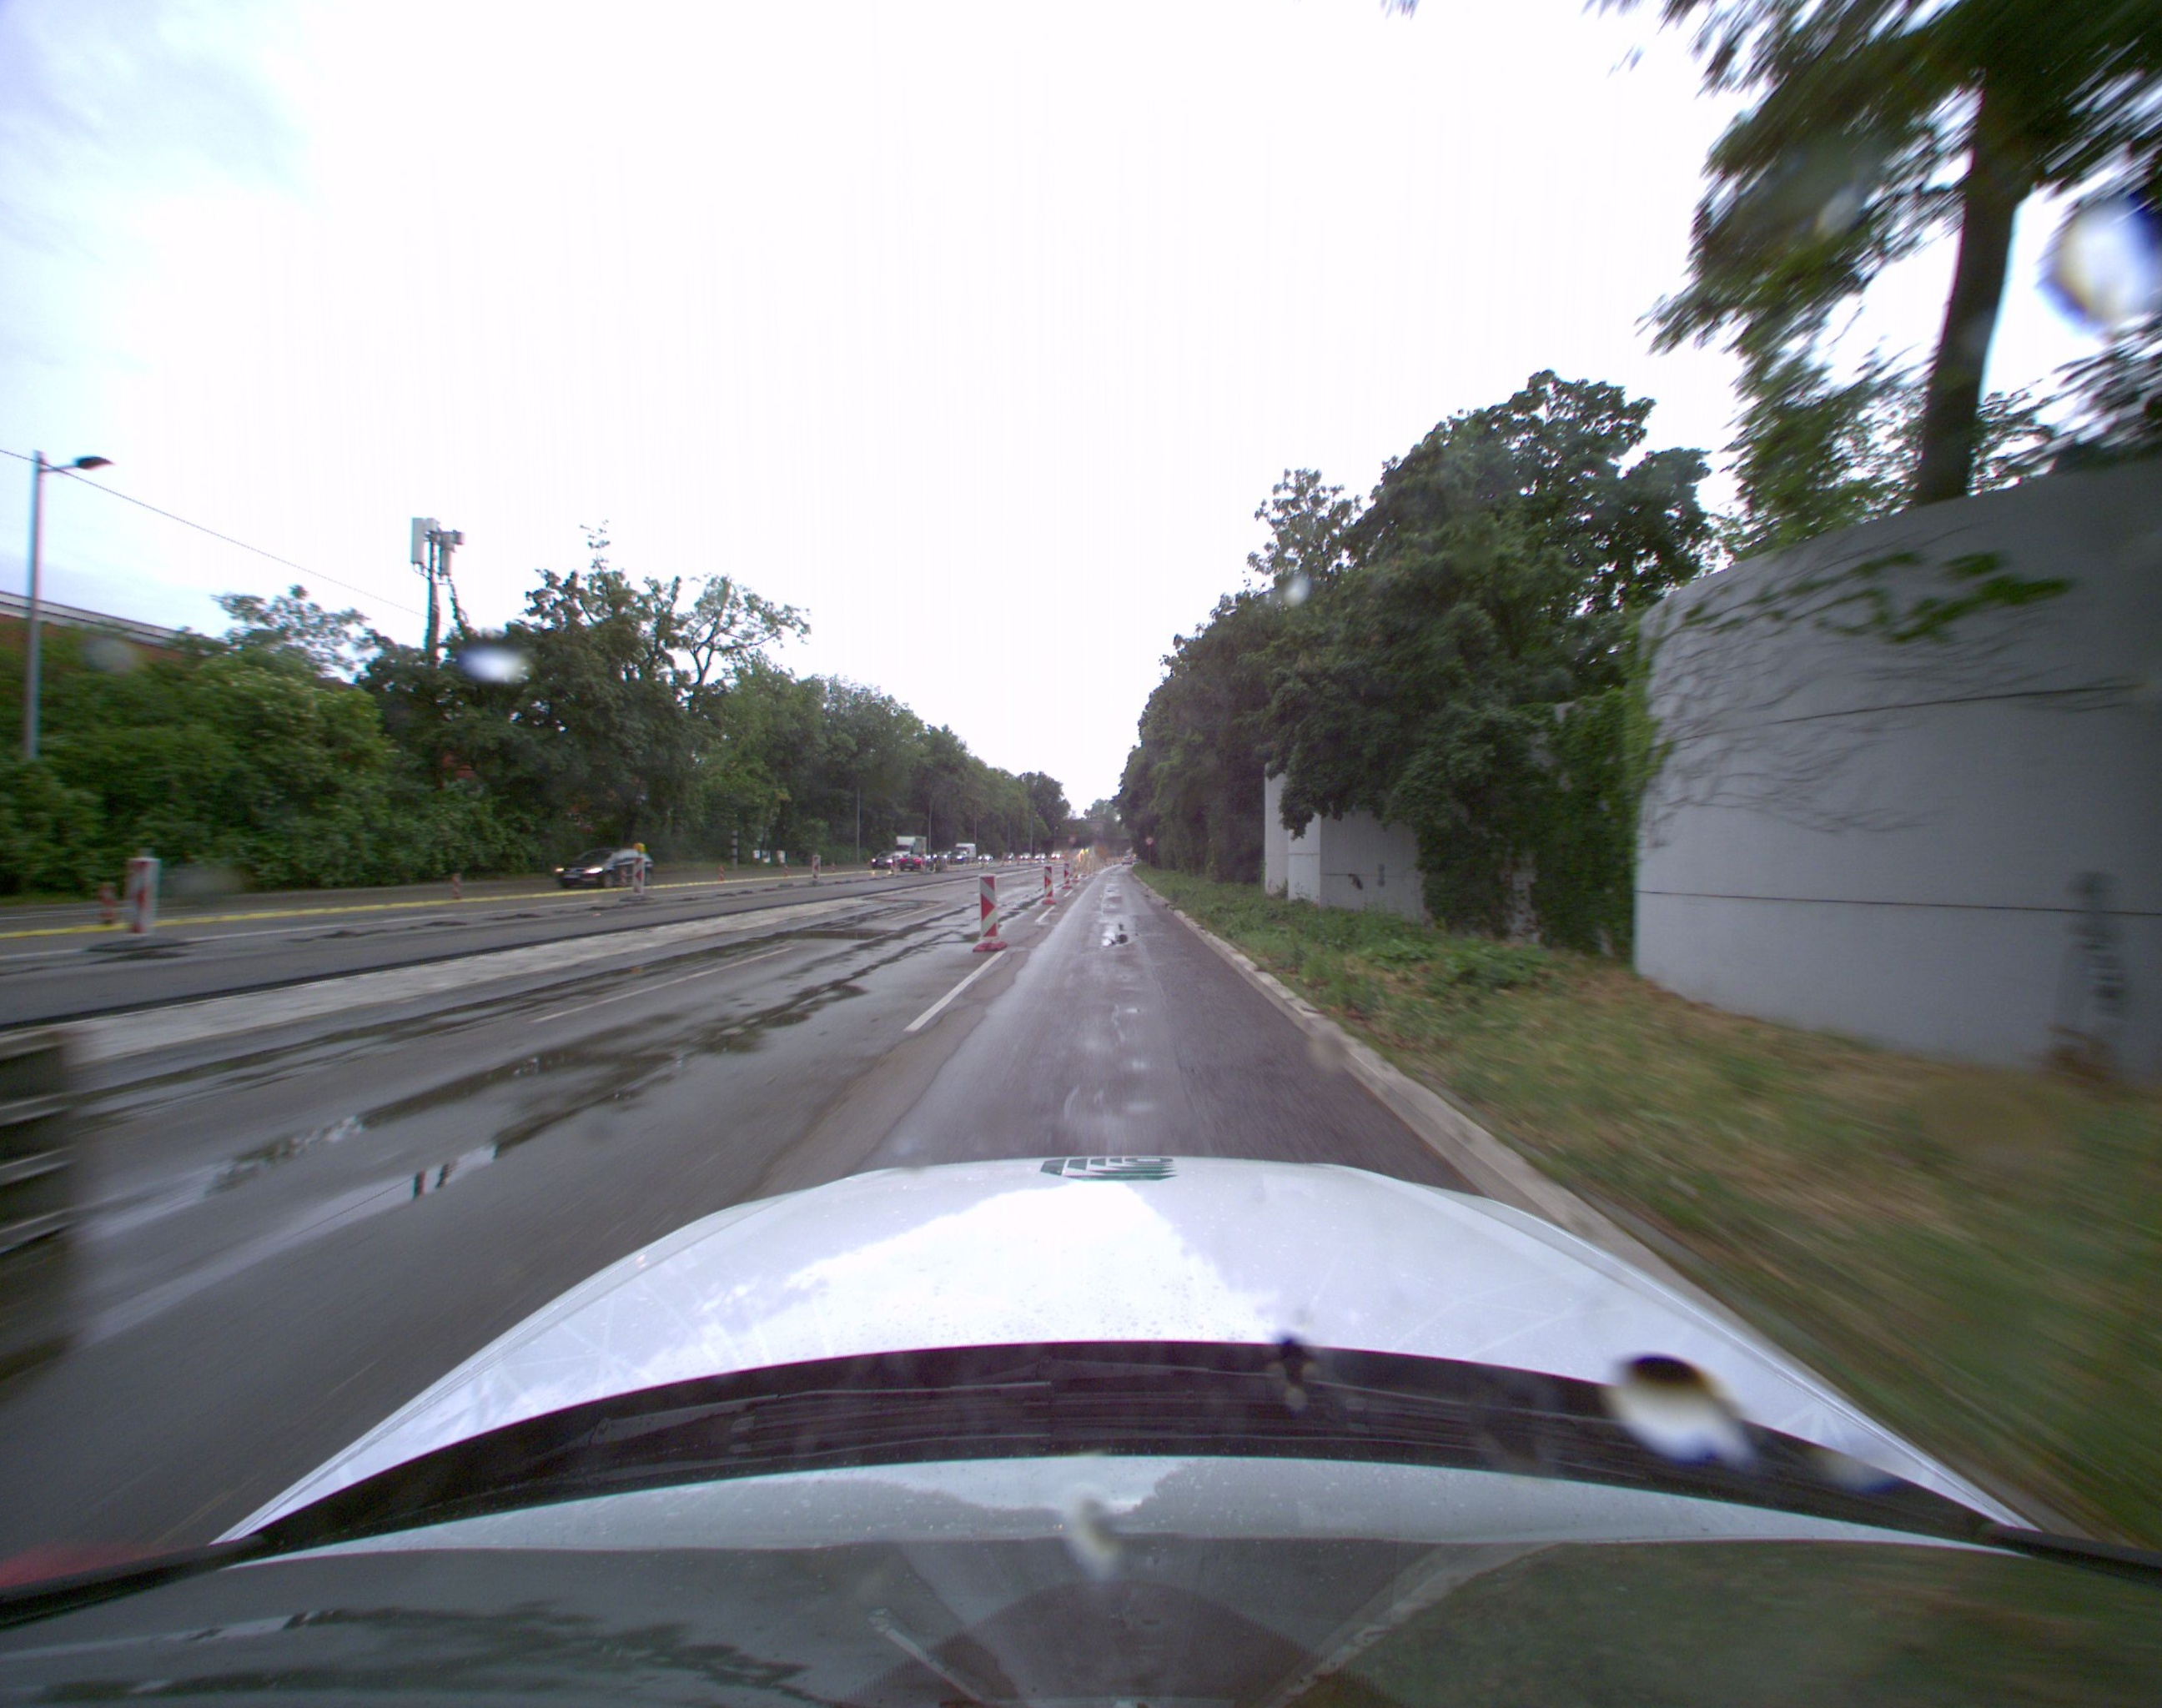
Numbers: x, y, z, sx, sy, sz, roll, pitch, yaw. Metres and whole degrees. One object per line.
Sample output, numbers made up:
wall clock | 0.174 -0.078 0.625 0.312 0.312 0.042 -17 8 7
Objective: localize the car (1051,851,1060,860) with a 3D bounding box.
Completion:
car | -5.663 0.354 179.170 1.663 1.809 4.324 0 0 3

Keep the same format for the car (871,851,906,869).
car | -15.560 0.491 66.045 1.664 1.415 4.321 0 0 1

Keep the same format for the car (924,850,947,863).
car | -17.297 0.255 97.064 1.663 1.485 4.324 0 0 3

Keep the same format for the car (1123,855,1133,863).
car | 8.541 0.961 147.275 1.690 1.336 3.494 -2 0 4

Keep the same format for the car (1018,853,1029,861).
car | -11.635 0.601 164.560 1.663 1.485 4.053 0 0 3

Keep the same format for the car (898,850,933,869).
car | -12.724 0.428 62.763 1.601 1.404 4.044 0 0 3

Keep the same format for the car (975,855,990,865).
car | -15.149 0.838 125.467 1.663 1.485 4.324 0 0 3

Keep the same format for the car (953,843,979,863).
car | -15.573 -0.179 110.537 2.091 2.579 6.860 0 0 3

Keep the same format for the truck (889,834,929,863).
truck | -17.686 -0.551 84.152 2.236 2.940 6.941 0 0 3

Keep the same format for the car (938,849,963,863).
car | -15.008 0.251 93.760 1.951 1.531 4.440 0 0 3

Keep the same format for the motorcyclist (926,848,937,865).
motorcyclist | -14.588 0.239 79.288 0.825 1.564 0.927 1 0 2

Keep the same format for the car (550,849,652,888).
car | -17.466 0.506 29.839 1.443 1.332 3.860 0 0 0

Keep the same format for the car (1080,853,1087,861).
car | 0.637 0.762 202.461 1.663 1.808 4.324 0 1 3

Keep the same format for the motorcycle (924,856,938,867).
motorcycle | -14.604 0.700 79.291 0.825 1.014 2.368 1 0 2

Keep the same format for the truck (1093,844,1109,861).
truck | 4.575 -0.321 179.915 3.246 3.497 13.878 0 0 2

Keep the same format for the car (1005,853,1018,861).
car | -12.512 0.540 147.375 1.663 1.485 4.324 0 0 3
